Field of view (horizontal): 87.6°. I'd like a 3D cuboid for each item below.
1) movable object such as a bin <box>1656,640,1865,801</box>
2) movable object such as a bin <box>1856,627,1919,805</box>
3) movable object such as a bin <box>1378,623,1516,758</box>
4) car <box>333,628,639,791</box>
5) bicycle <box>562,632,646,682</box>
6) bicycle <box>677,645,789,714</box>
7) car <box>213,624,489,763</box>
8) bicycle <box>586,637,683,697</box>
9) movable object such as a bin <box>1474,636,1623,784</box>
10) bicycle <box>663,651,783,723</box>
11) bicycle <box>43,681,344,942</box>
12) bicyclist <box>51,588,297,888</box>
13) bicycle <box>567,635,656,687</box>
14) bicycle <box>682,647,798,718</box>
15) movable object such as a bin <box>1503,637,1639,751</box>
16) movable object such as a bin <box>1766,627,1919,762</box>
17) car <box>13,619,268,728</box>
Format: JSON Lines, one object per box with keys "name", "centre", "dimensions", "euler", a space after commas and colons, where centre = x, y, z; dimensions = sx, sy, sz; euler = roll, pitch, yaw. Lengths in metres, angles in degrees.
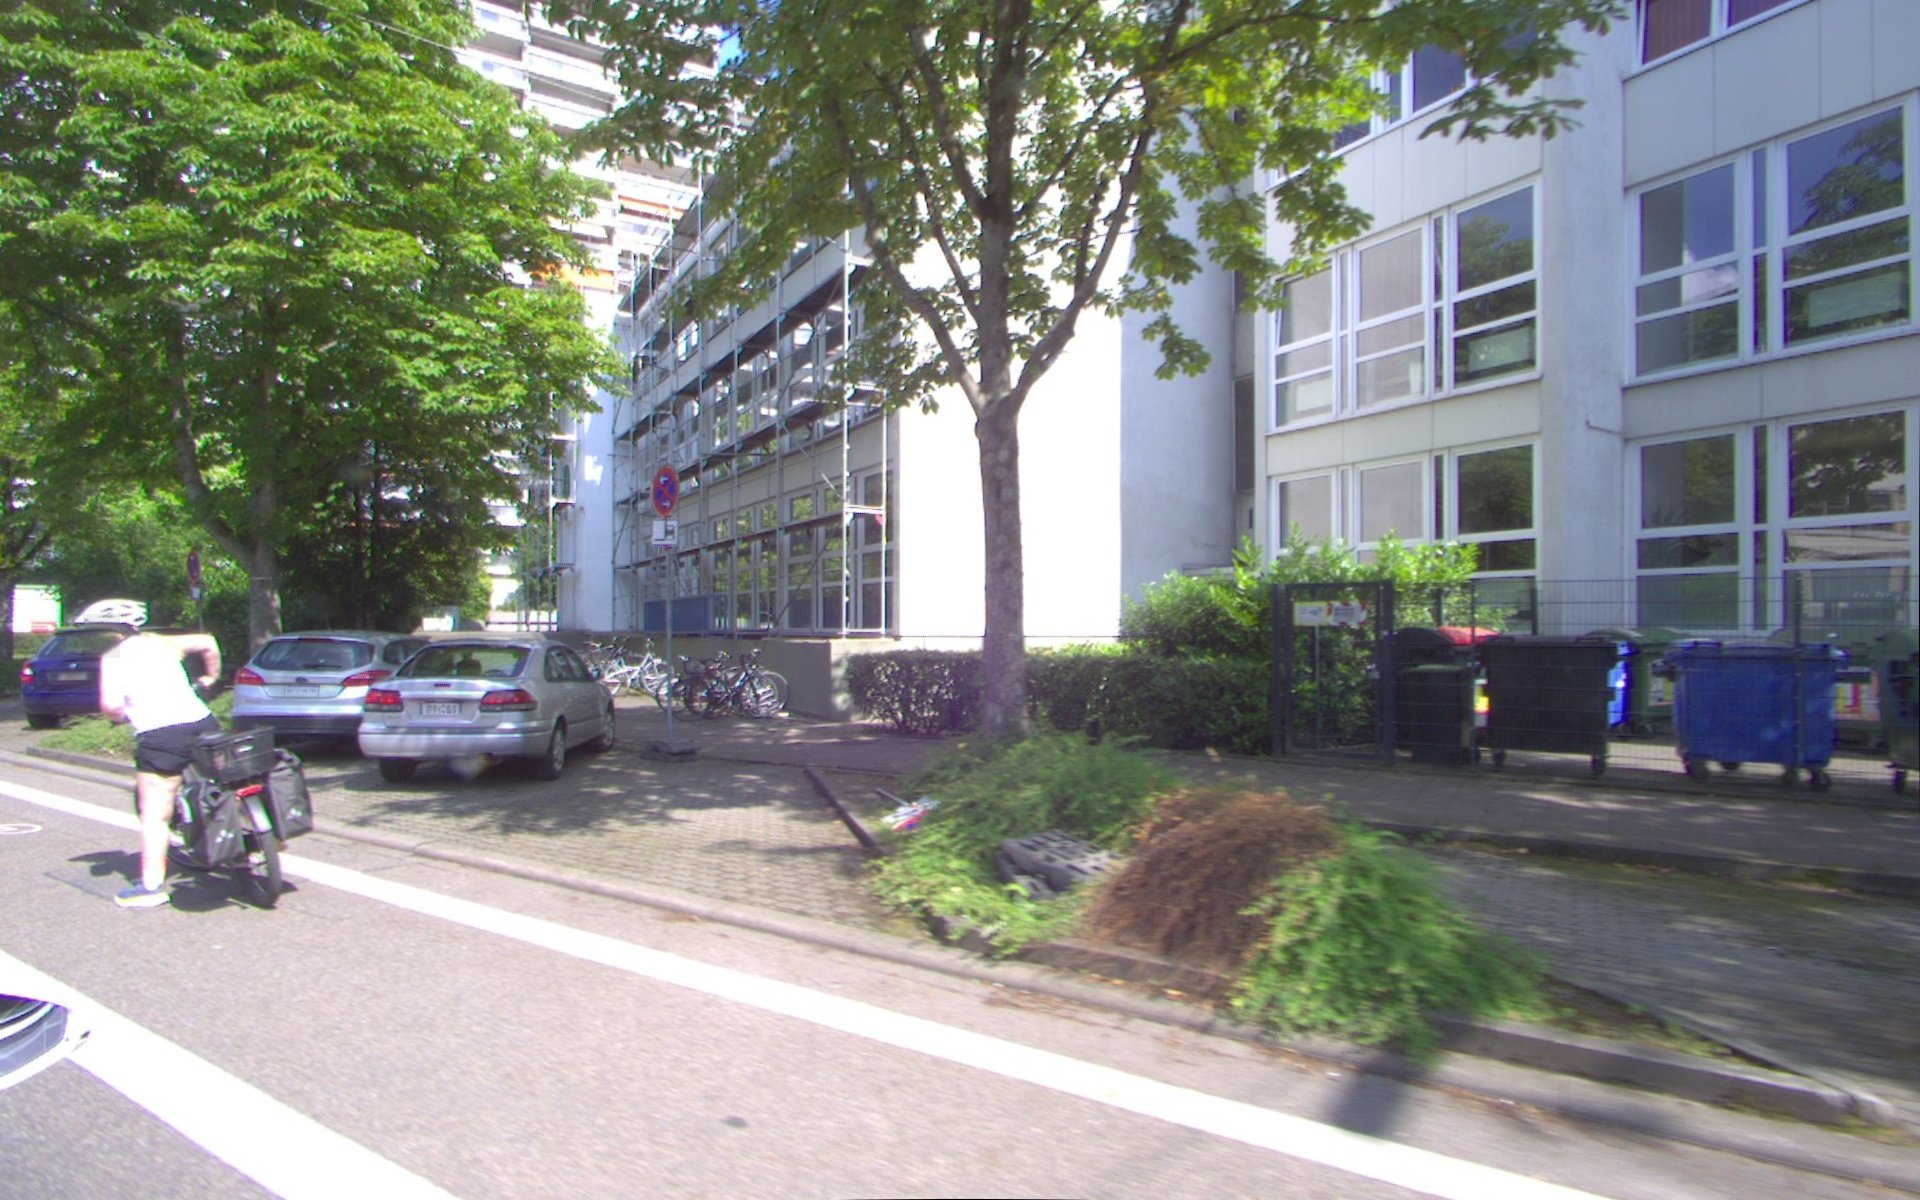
{"name": "movable object such as a bin", "centre": [7.360, 1.060, 9.326], "dimensions": [1.339, 1.352, 1.274], "euler": [-1, -3, 31]}
{"name": "movable object such as a bin", "centre": [8.725, 0.999, 8.511], "dimensions": [1.330, 1.455, 1.276], "euler": [1, -3, 25]}
{"name": "movable object such as a bin", "centre": [5.815, 1.052, 11.963], "dimensions": [1.250, 1.499, 0.932], "euler": [2, -1, -30]}
{"name": "car", "centre": [-4.962, 1.060, 11.195], "dimensions": [1.690, 1.438, 4.243], "euler": [1, -2, -5]}
{"name": "bicycle", "centre": [-8.266, 1.310, 23.299], "dimensions": [1.805, 1.110, 0.449], "euler": [0, 0, -27]}
{"name": "bicycle", "centre": [-3.963, 1.377, 17.543], "dimensions": [1.873, 1.110, 0.449], "euler": [0, 1, -27]}
{"name": "car", "centre": [-7.540, 1.097, 12.857], "dimensions": [1.621, 1.493, 3.805], "euler": [2, -2, -9]}
{"name": "bicycle", "centre": [-6.563, 1.338, 20.231], "dimensions": [1.804, 1.111, 0.449], "euler": [0, 3, -27]}
{"name": "movable object such as a bin", "centre": [5.892, 1.053, 10.069], "dimensions": [1.218, 1.352, 1.274], "euler": [-1, -3, 31]}
{"name": "bicycle", "centre": [-3.889, 1.409, 16.489], "dimensions": [1.873, 1.067, 0.449], "euler": [0, 1, -27]}
{"name": "bicycle", "centre": [-4.443, 1.079, 5.744], "dimensions": [2.110, 1.140, 0.872], "euler": [-1, -3, 39]}
{"name": "bicyclist", "centre": [-4.614, 0.746, 5.884], "dimensions": [1.072, 1.548, 0.887], "euler": [-1, -3, 39]}
{"name": "bicycle", "centre": [-7.733, 1.335, 22.237], "dimensions": [1.805, 1.110, 0.449], "euler": [1, 0, -27]}
{"name": "bicycle", "centre": [-3.745, 1.389, 17.095], "dimensions": [1.873, 1.110, 0.449], "euler": [0, 1, -27]}
{"name": "movable object such as a bin", "centre": [8.095, 1.197, 13.272], "dimensions": [1.201, 1.356, 1.252], "euler": [-1, 1, -42]}
{"name": "movable object such as a bin", "centre": [10.819, 1.091, 12.200], "dimensions": [1.362, 1.466, 1.254], "euler": [-1, 1, -36]}
{"name": "car", "centre": [-13.139, 1.087, 16.387], "dimensions": [1.586, 1.505, 3.995], "euler": [0, 0, -13]}
